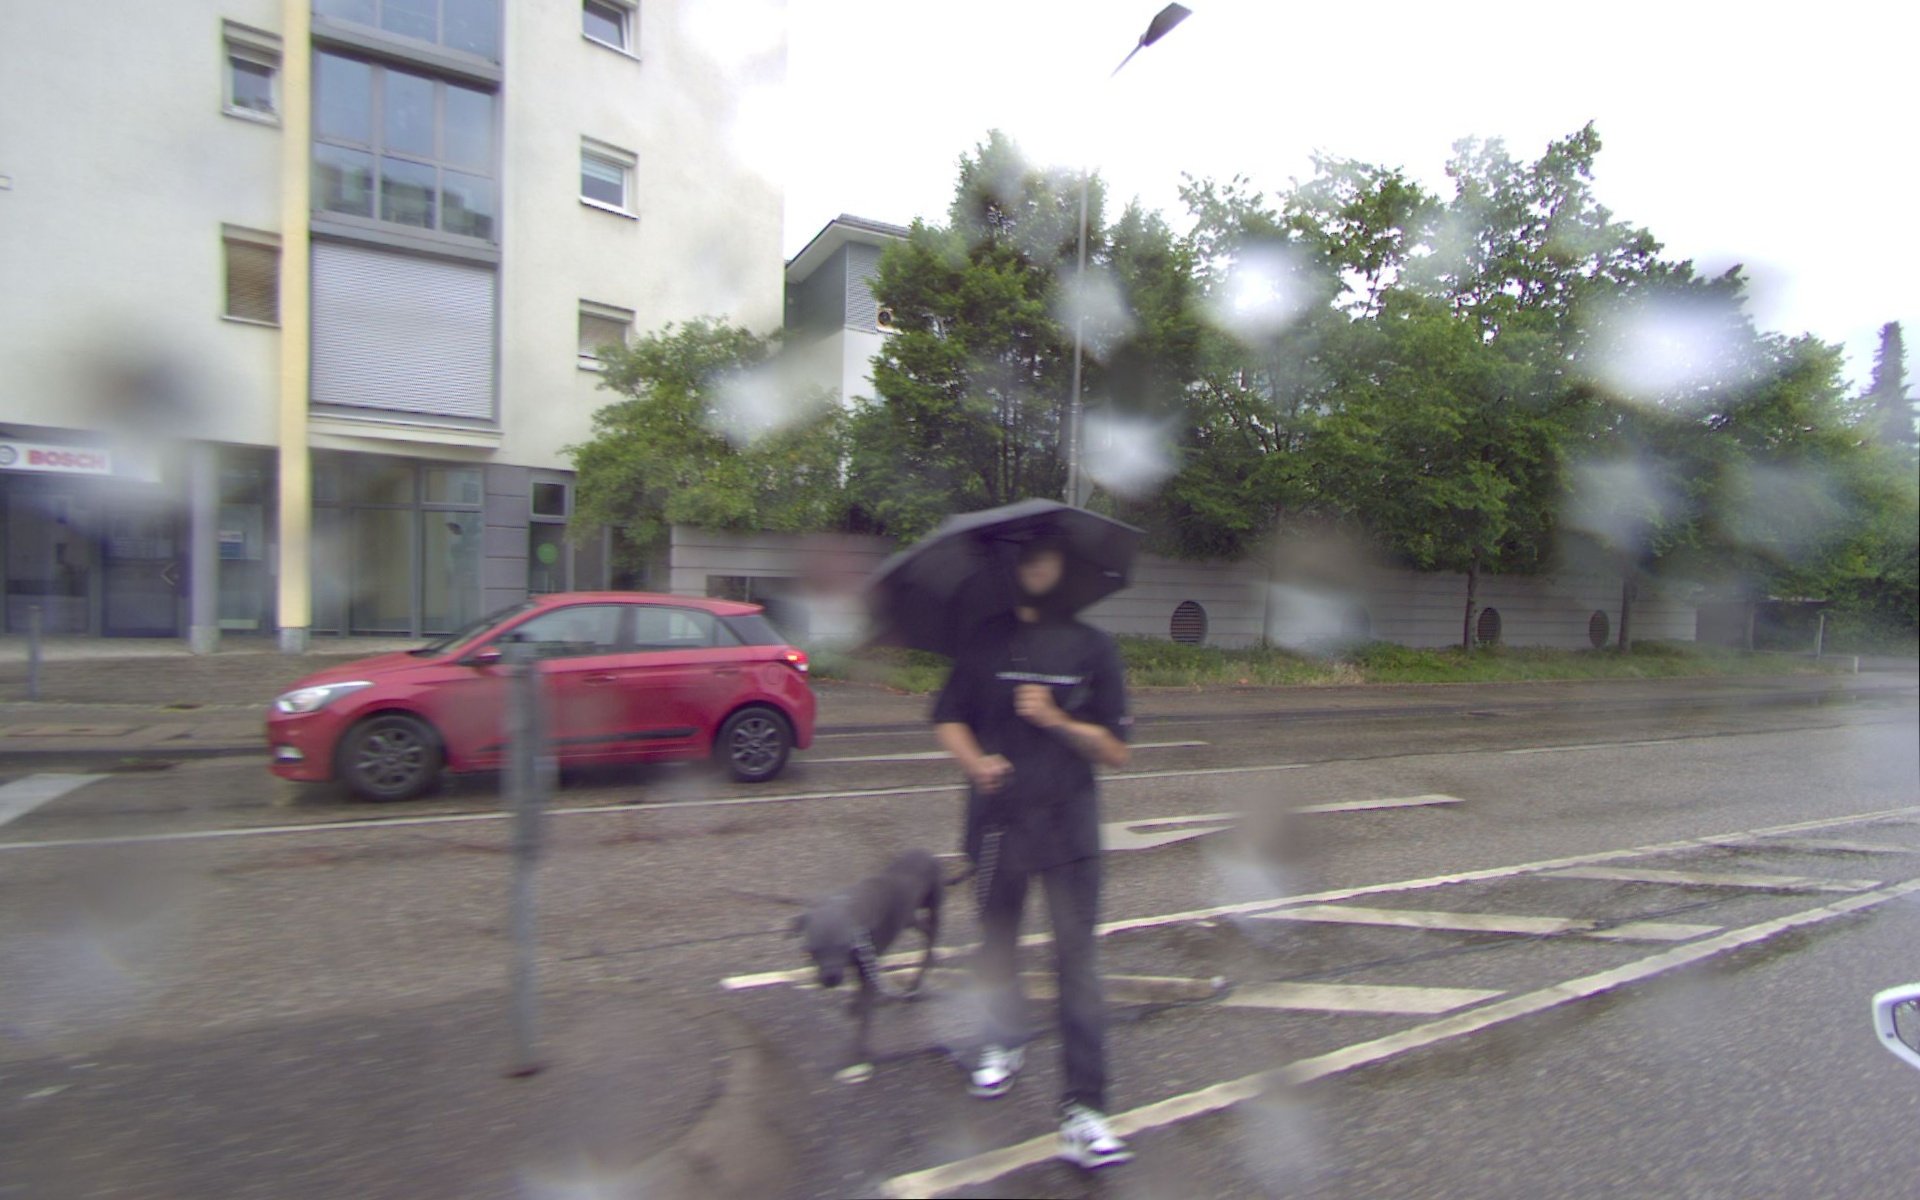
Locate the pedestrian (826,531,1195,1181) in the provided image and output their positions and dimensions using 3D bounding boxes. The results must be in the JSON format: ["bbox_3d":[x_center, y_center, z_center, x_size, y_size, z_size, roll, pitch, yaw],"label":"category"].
[{"bbox_3d":[0.100,0.689,3.039,0.930,1.725,0.667,2,2,-9],"label":"pedestrian"}]

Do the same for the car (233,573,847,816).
[{"bbox_3d":[-3.118,0.666,8.022,4.050,1.526,1.769,2,-1,-26],"label":"car"}]
